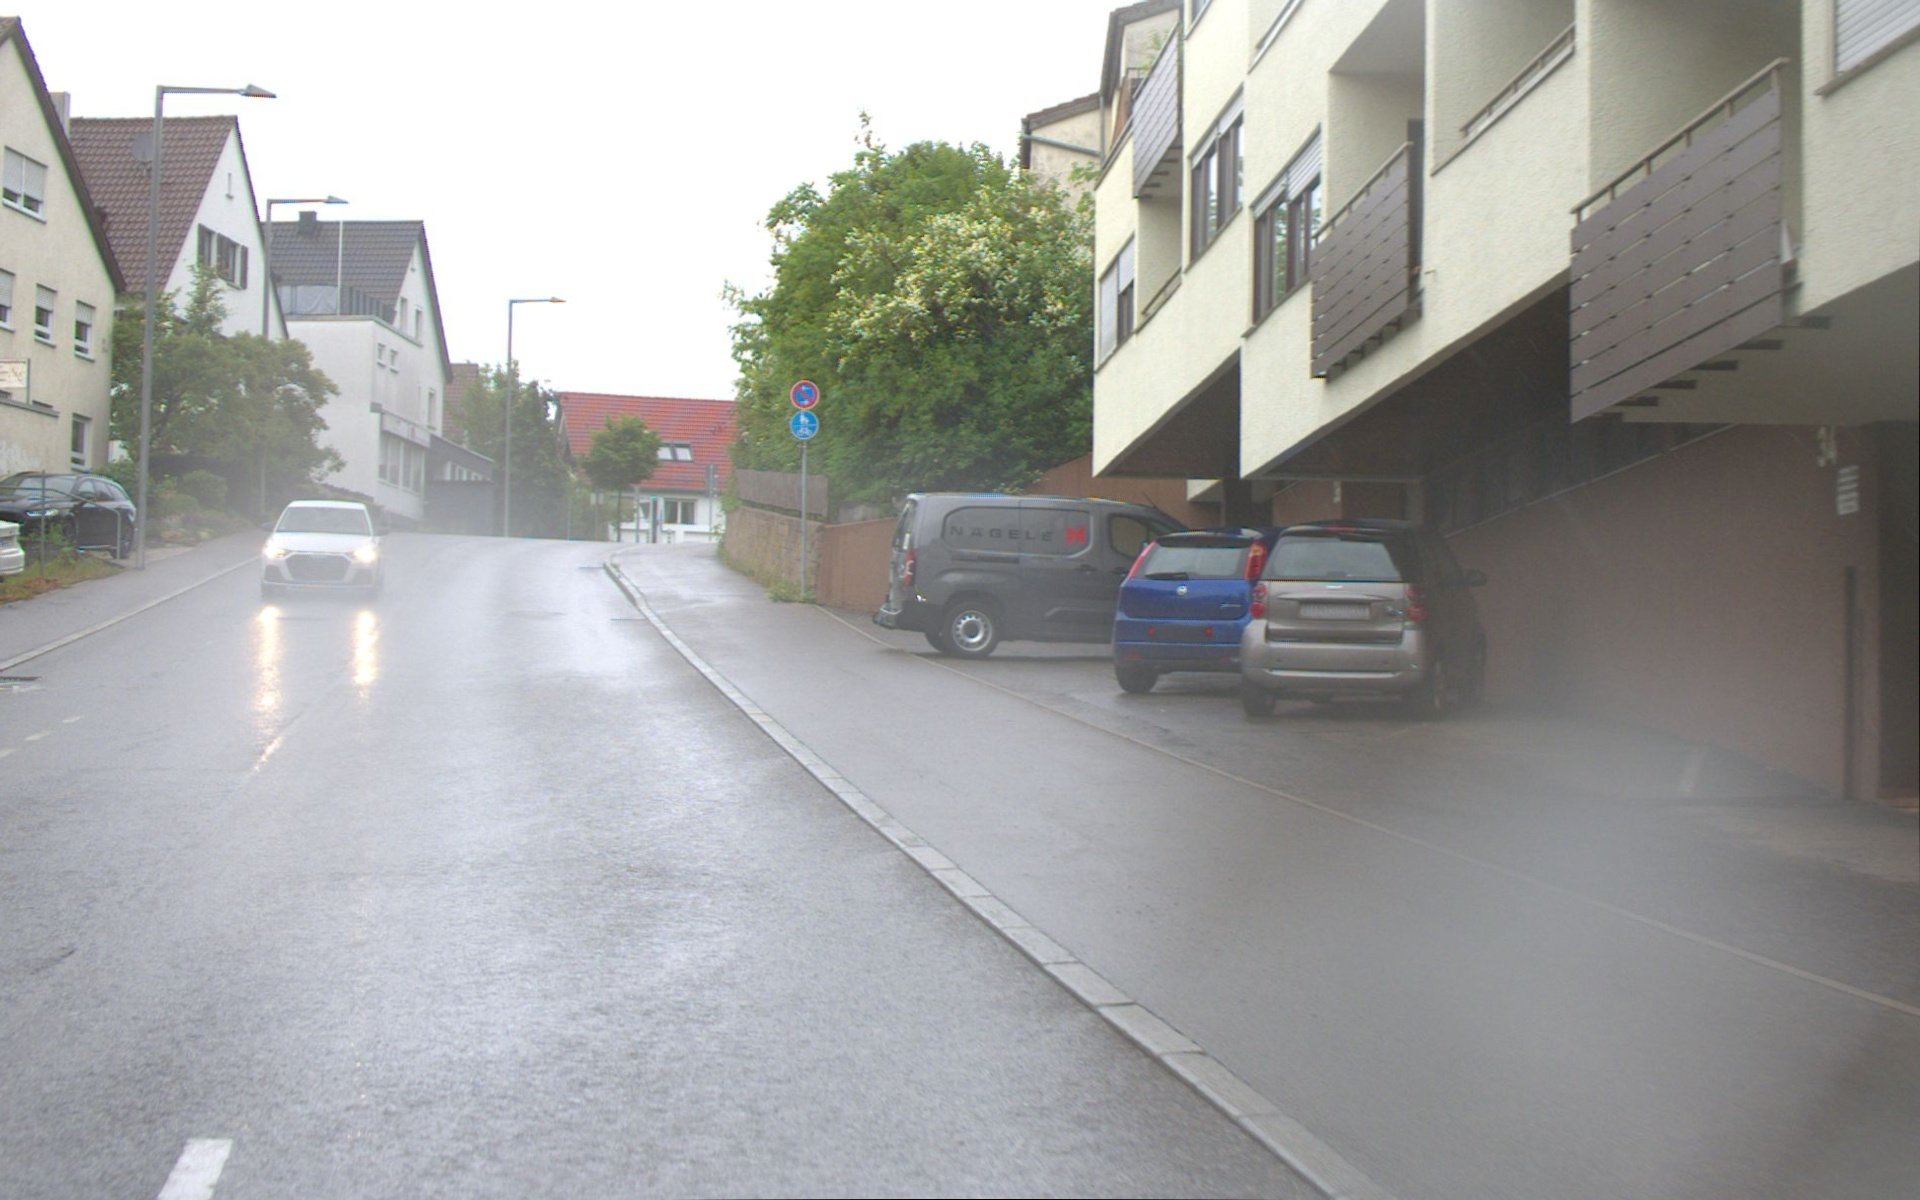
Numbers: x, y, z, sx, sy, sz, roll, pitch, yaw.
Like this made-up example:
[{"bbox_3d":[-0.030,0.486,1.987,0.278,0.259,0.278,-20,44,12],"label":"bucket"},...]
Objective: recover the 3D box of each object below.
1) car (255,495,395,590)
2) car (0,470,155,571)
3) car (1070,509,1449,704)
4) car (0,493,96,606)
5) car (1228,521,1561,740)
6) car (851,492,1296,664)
[{"bbox_3d":[-9.692,-0.896,52.723,1.702,1.383,4.051,-1,1,-5],"label":"car"},{"bbox_3d":[-15.726,-1.400,59.541,1.974,1.653,4.962,1,2,6],"label":"car"},{"bbox_3d":[2.805,0.048,31.421,1.785,1.573,4.059,4,2,31],"label":"car"},{"bbox_3d":[-14.452,-0.747,47.500,4.497,1.500,1.900,1,2,5],"label":"car"},{"bbox_3d":[3.670,0.210,28.447,1.784,1.573,4.063,4,2,20],"label":"car"},{"bbox_3d":[1.234,-0.261,38.686,4.706,1.814,2.001,1,2,-8],"label":"car"}]
